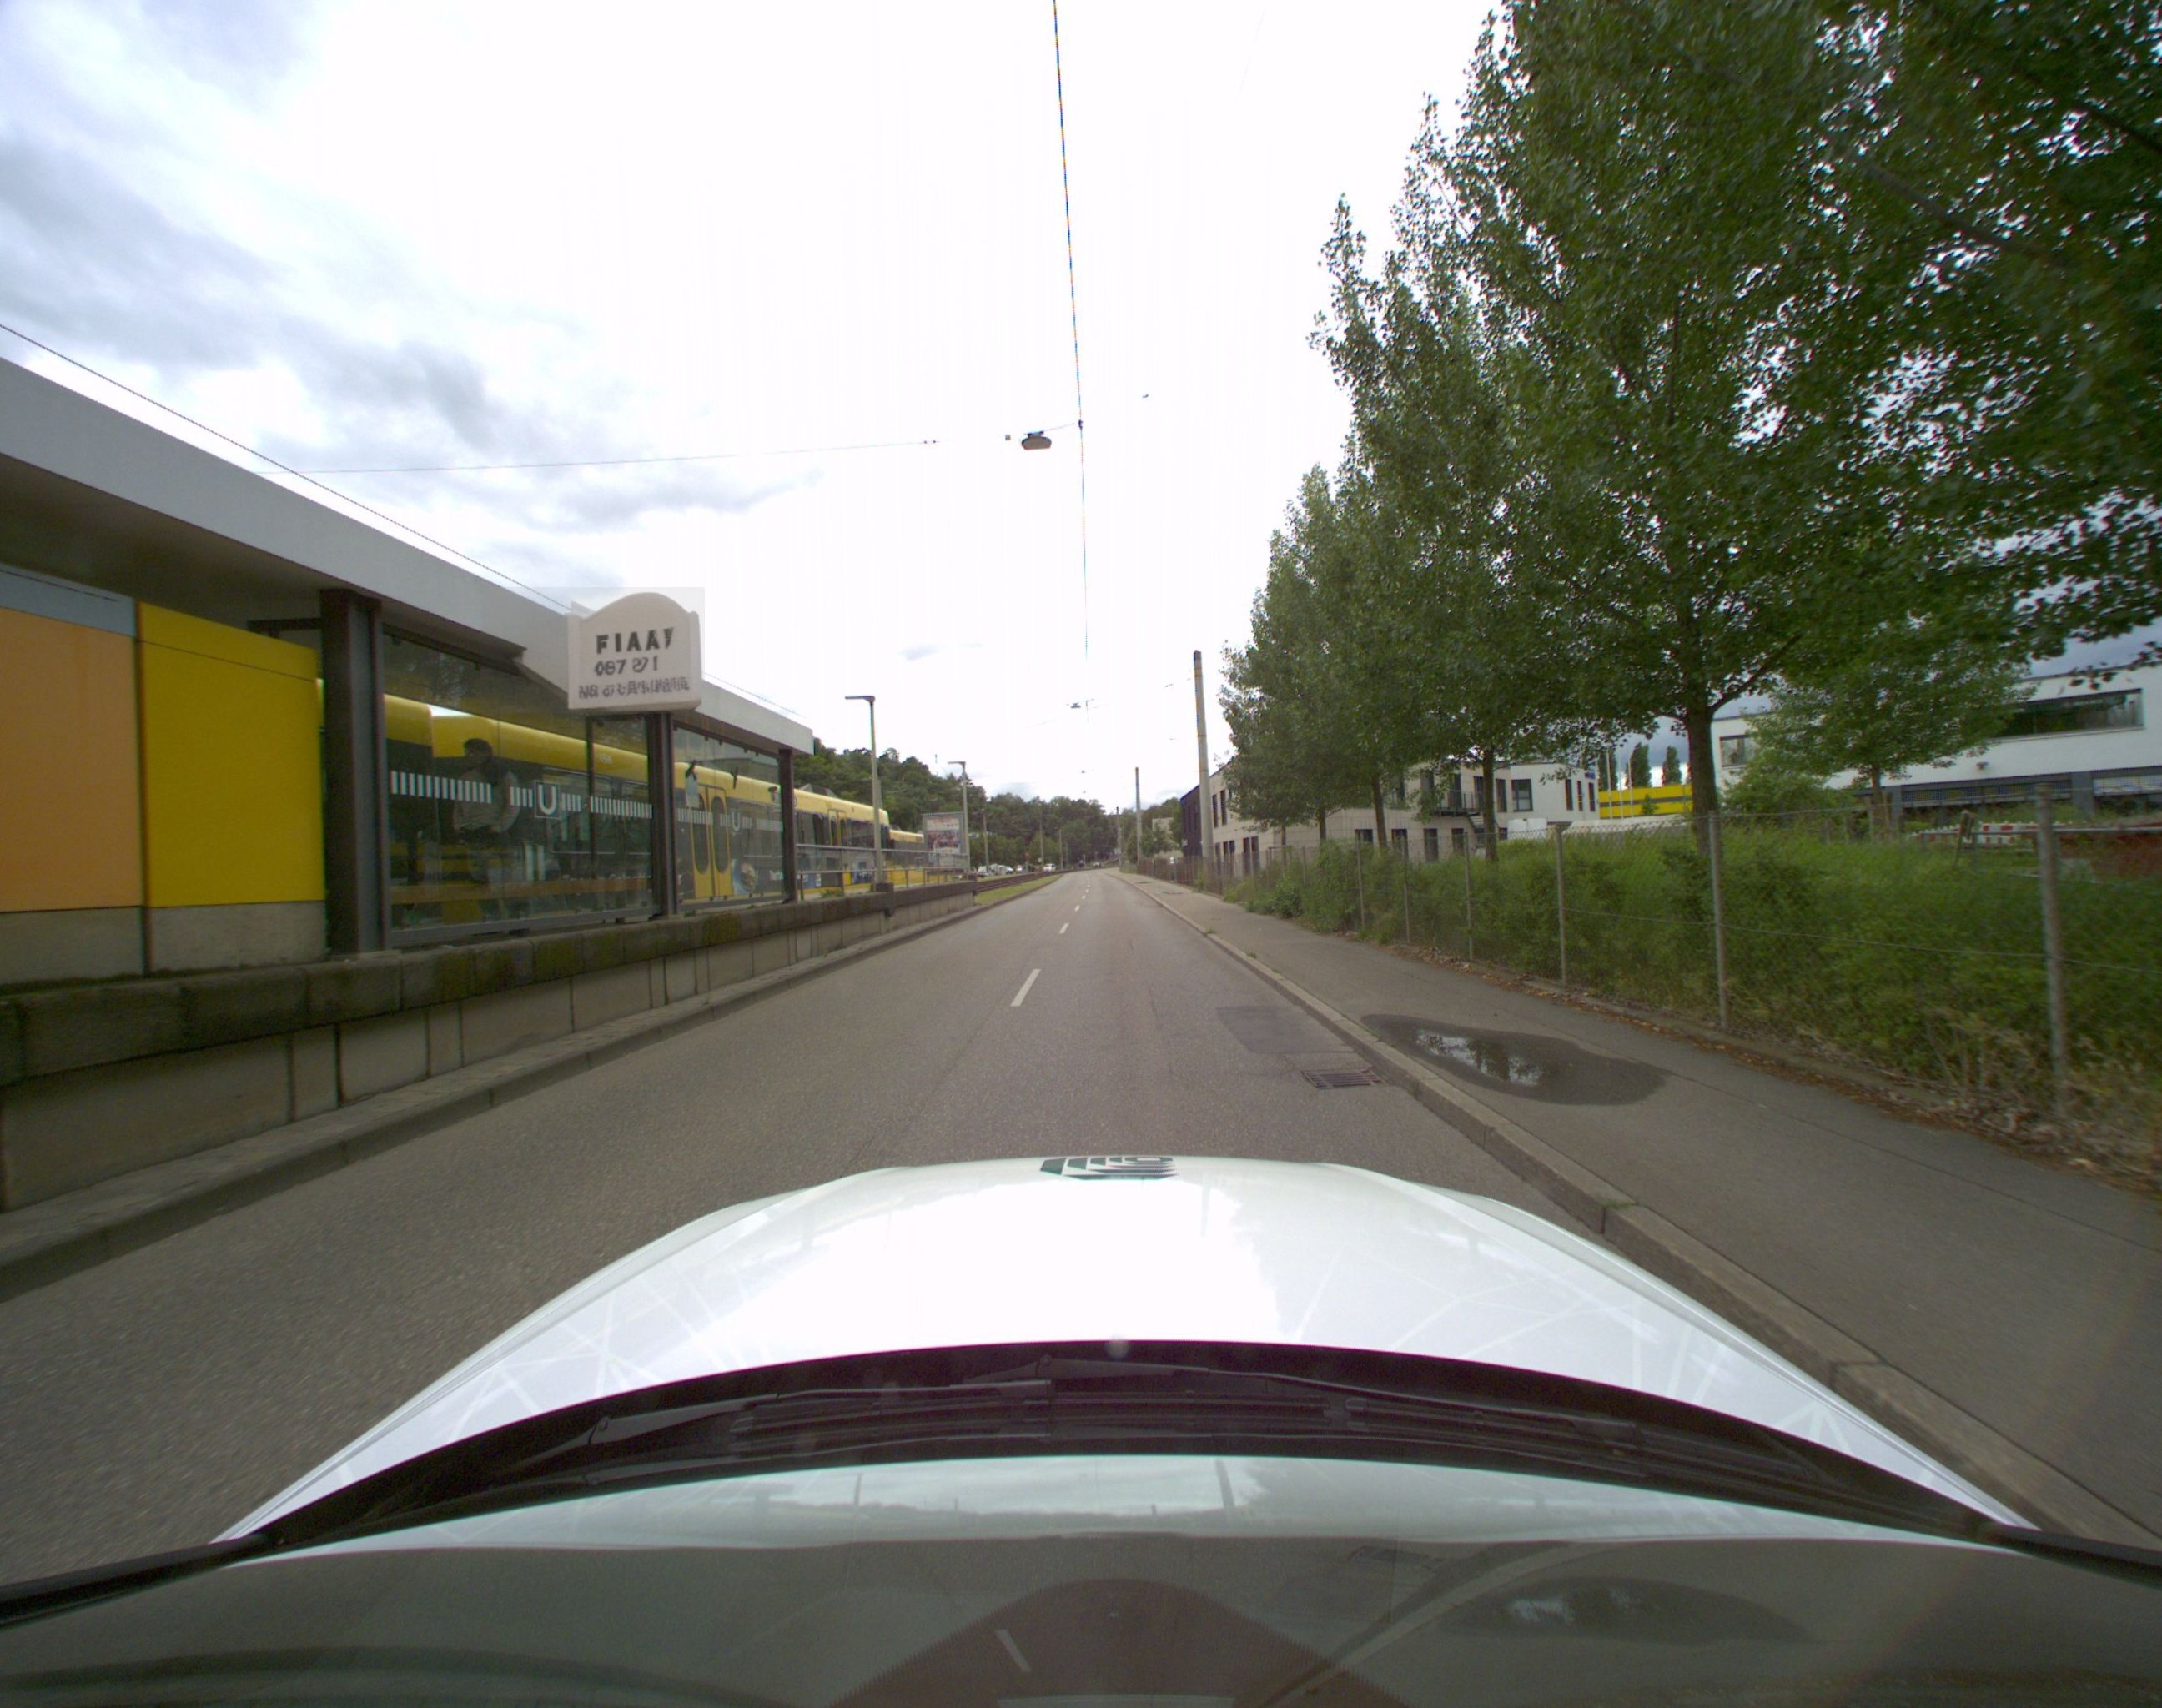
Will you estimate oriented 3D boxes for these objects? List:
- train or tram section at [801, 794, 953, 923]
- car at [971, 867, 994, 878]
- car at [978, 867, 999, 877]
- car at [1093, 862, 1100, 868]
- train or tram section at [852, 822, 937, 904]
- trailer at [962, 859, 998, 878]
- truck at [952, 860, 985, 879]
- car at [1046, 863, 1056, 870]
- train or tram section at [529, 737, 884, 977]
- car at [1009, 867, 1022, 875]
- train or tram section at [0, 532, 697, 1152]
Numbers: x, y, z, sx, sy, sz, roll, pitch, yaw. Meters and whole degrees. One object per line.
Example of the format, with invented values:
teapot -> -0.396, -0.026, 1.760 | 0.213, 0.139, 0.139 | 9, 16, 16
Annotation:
train or tram section -> -7.512, 0.129, 31.879 | 2.961, 4.065, 10.199 | -3, 0, 1
car -> -19.565, 3.694, 161.724 | 3.966, 1.706, 1.837 | -4, -4, 7
car -> -19.180, 3.778, 169.168 | 3.966, 1.706, 1.837 | -4, -4, 7
car -> 4.736, 3.230, 244.310 | 1.986, 1.640, 4.001 | -3, -1, 1
train or tram section -> -9.694, 0.501, 43.394 | 1.986, 3.796, 9.182 | -3, -1, 2
trailer -> -15.789, 2.203, 127.944 | 2.875, 2.583, 10.018 | -3, -1, 9
truck -> -16.749, 2.213, 121.557 | 2.867, 2.589, 6.927 | -3, -1, 8
car -> -7.297, 3.041, 196.640 | 1.986, 1.640, 4.001 | -3, -1, 1
train or tram section -> -7.861, 0.032, 19.920 | 2.731, 3.966, 11.915 | -3, 0, 1
car -> -15.627, 4.050, 194.758 | 1.816, 1.706, 4.155 | -4, -4, 11
train or tram section -> -8.192, -0.041, 8.012 | 2.731, 3.966, 11.915 | -3, 0, 1
